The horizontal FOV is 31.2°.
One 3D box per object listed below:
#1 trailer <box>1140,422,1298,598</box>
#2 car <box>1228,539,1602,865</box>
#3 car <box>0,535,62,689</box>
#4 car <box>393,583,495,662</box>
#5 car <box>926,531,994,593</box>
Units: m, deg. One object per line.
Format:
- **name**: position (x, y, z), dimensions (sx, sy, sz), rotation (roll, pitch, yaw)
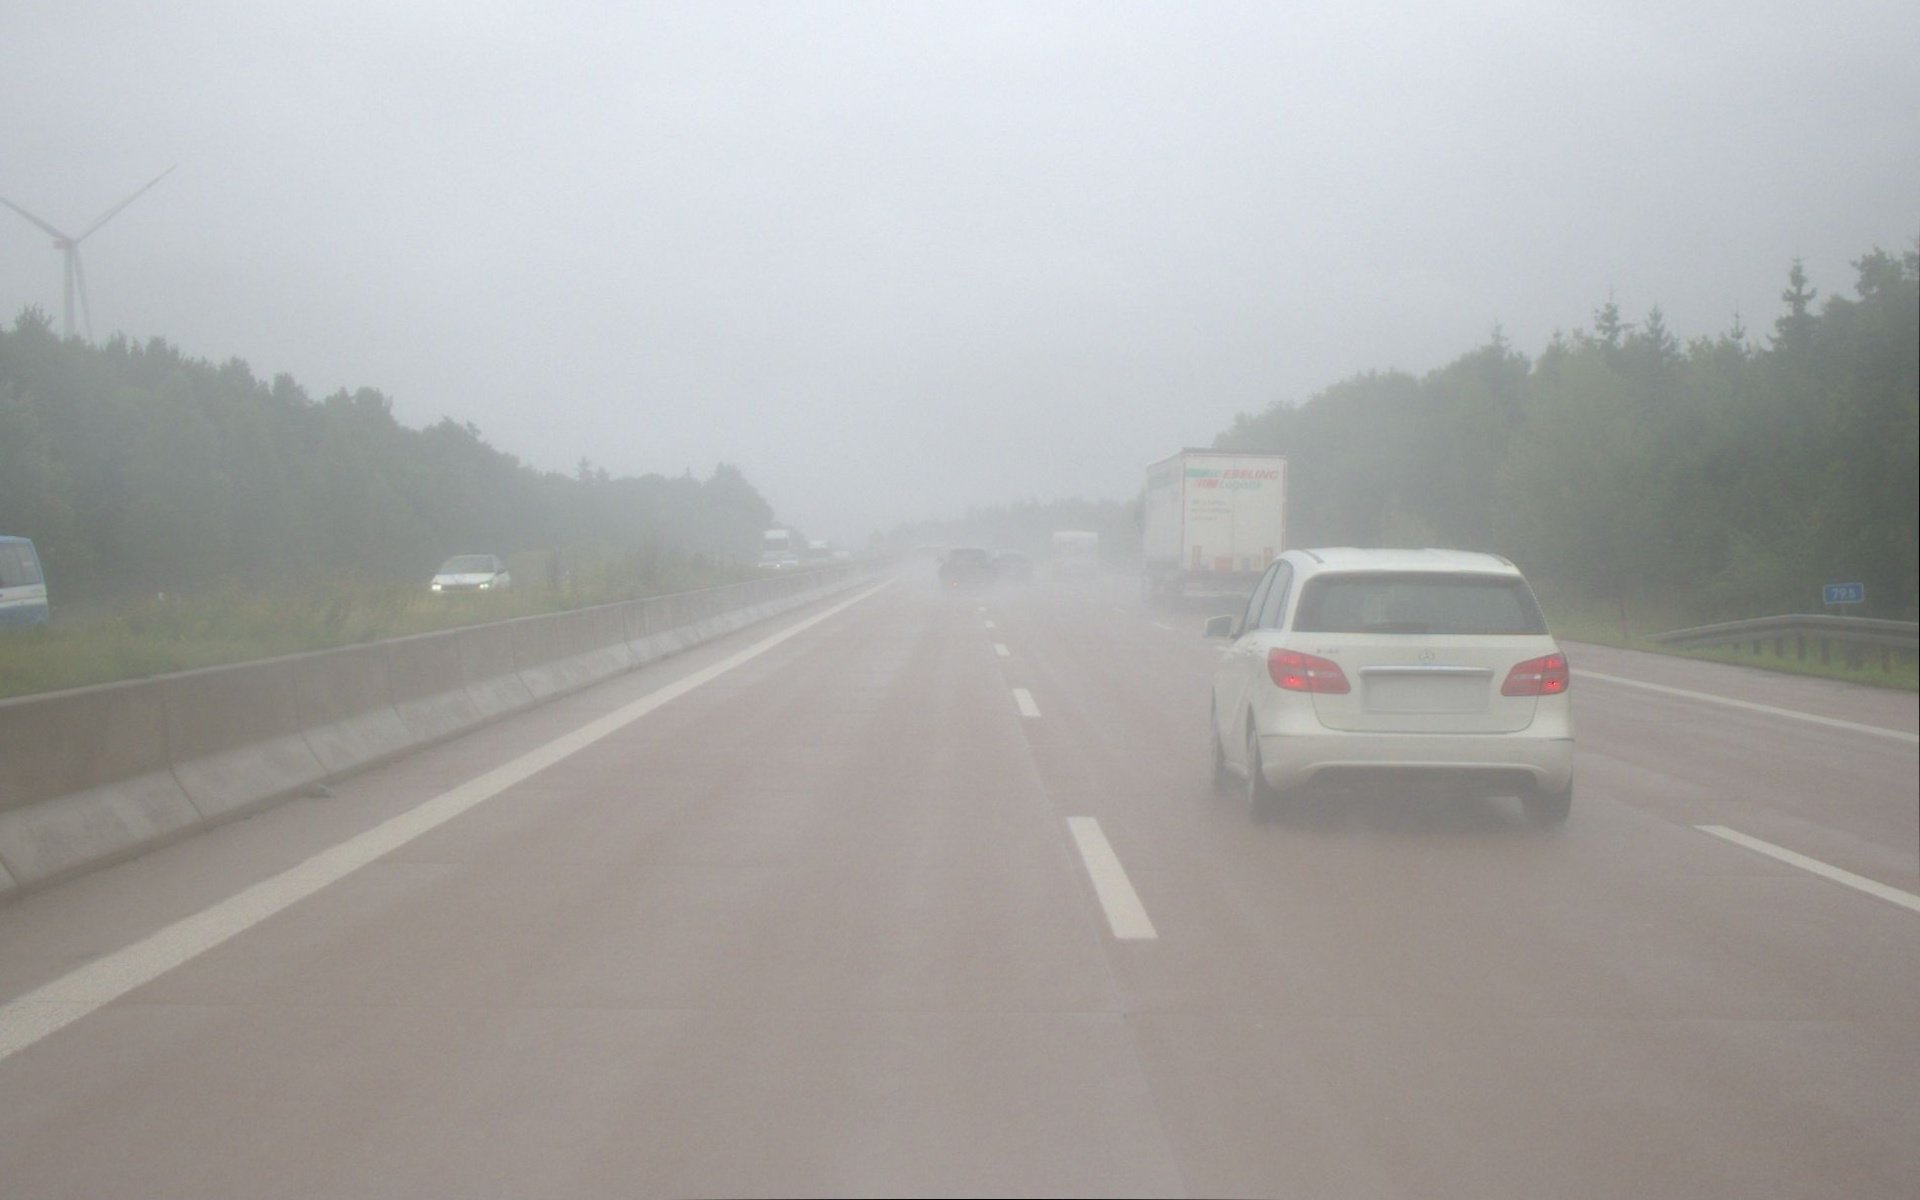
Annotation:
- **trailer**: position (6.619, -2.331, 89.891), dimensions (2.852, 4.217, 13.133), rotation (-1, 1, -1)
- **car**: position (2.647, 0.522, 20.980), dimensions (1.808, 1.722, 4.743), rotation (1, 1, 2)
- **car**: position (-13.621, 0.136, 45.106), dimensions (2.306, 2.007, 5.663), rotation (1, 1, -1)
- **car**: position (-13.920, 0.584, 92.967), dimensions (2.088, 2.007, 4.799), rotation (1, 1, -1)
- **car**: position (0.006, -1.273, 113.815), dimensions (2.173, 1.974, 4.130), rotation (1, 1, 0)
